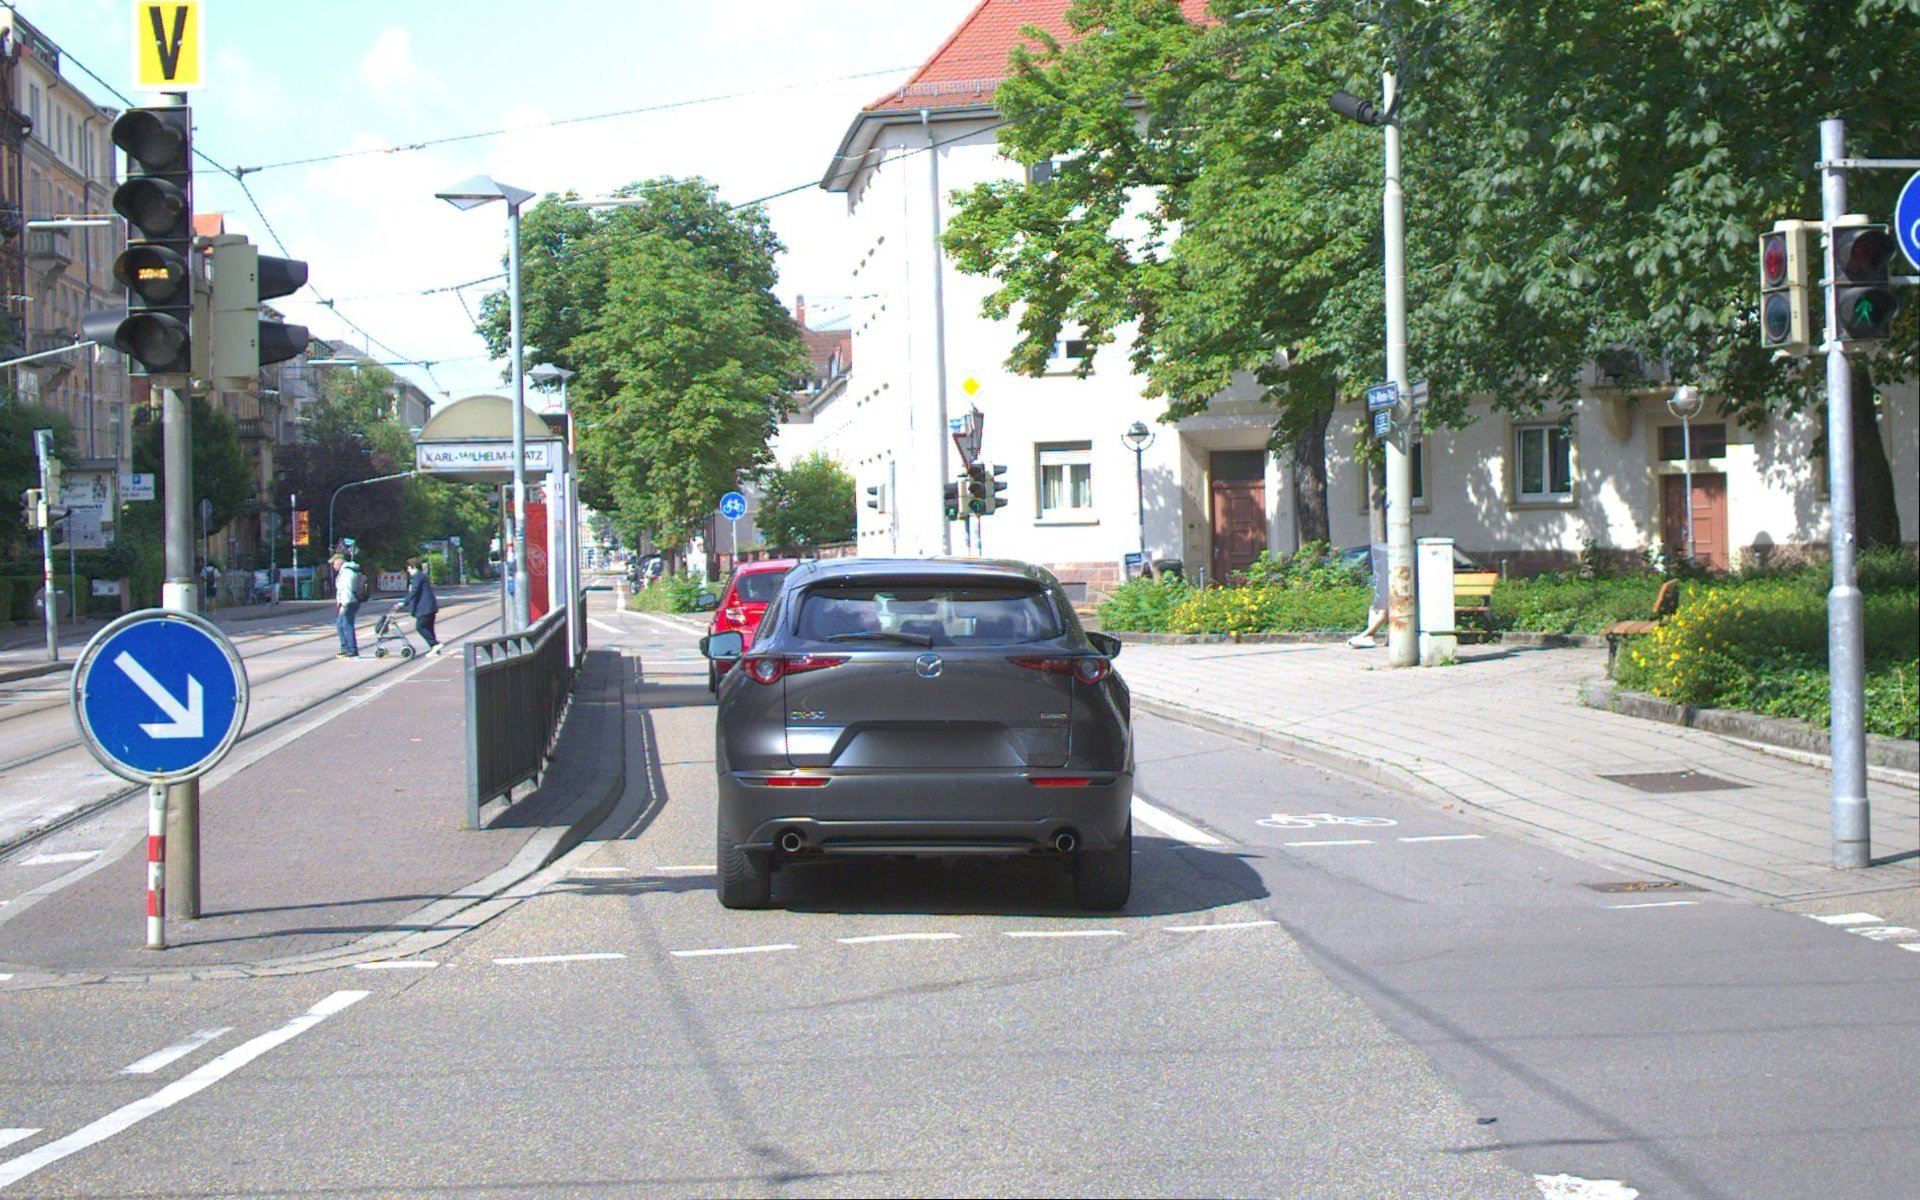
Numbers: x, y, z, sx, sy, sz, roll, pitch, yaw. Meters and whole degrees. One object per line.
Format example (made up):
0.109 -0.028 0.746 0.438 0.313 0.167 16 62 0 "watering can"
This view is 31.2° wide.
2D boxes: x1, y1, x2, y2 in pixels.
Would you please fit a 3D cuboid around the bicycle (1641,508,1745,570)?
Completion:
12.814 -1.066 60.125 0.565 1.016 1.752 -5 3 -42 "bicycle"

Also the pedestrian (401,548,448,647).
-8.504 -0.049 54.608 0.667 1.540 0.581 -1 1 -6 "pedestrian"

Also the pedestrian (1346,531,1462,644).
5.289 -0.151 40.961 1.192 1.264 0.558 -4 1 -10 "pedestrian"

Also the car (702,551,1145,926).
-0.251 0.546 15.966 1.782 1.509 4.000 1 0 -3 "car"

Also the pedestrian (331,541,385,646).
-9.692 -0.110 55.366 0.770 1.669 0.668 -2 1 -6 "pedestrian"

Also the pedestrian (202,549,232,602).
-24.011 -0.786 111.074 0.787 1.682 0.732 -1 1 -4 "pedestrian"

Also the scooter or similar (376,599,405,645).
-9.044 0.350 54.598 0.414 0.718 0.486 -2 1 -6 "scooter or similar"

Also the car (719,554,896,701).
-1.644 0.252 36.442 1.775 1.459 3.843 0 1 -3 "car"
